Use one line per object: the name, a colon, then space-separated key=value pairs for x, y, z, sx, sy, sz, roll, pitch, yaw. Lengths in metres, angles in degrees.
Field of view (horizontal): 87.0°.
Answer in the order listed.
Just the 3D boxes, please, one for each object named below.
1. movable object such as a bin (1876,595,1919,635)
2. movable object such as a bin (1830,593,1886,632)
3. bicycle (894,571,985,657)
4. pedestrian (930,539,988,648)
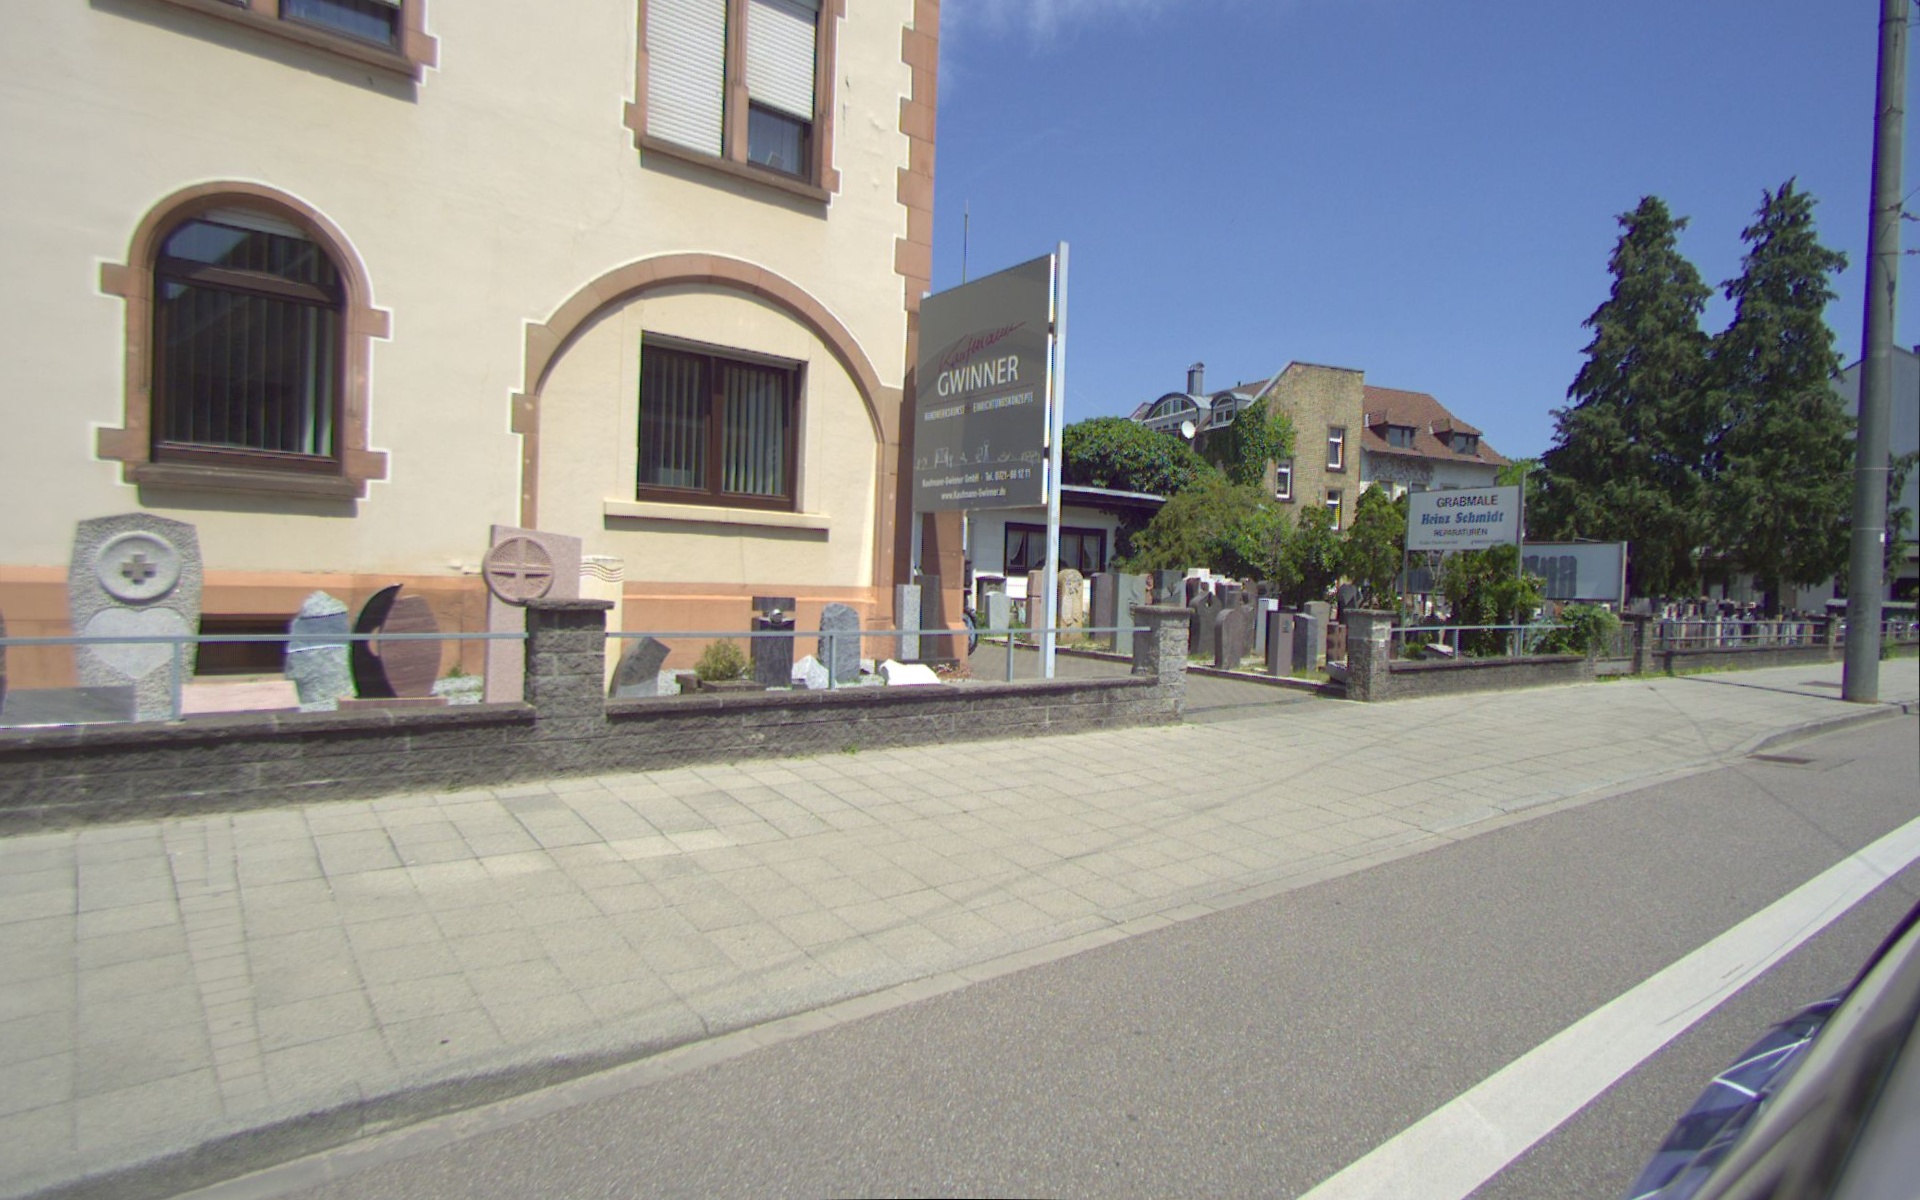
movable object such as a bin: x=37.163 y=0.589 z=39.796 sx=1.129 sy=1.499 sz=1.392 roll=1 pitch=1 yaw=-33
movable object such as a bin: x=36.686 y=0.493 z=41.339 sx=1.128 sy=1.499 sz=1.393 roll=1 pitch=1 yaw=-30
bicycle: x=-0.340 y=0.179 z=15.182 sx=0.578 sy=1.141 sz=1.811 roll=1 pitch=3 yaw=-27
pedestrian: x=-0.023 y=-0.107 z=16.364 sx=0.577 sy=1.712 sz=0.828 roll=1 pitch=1 yaw=-27
